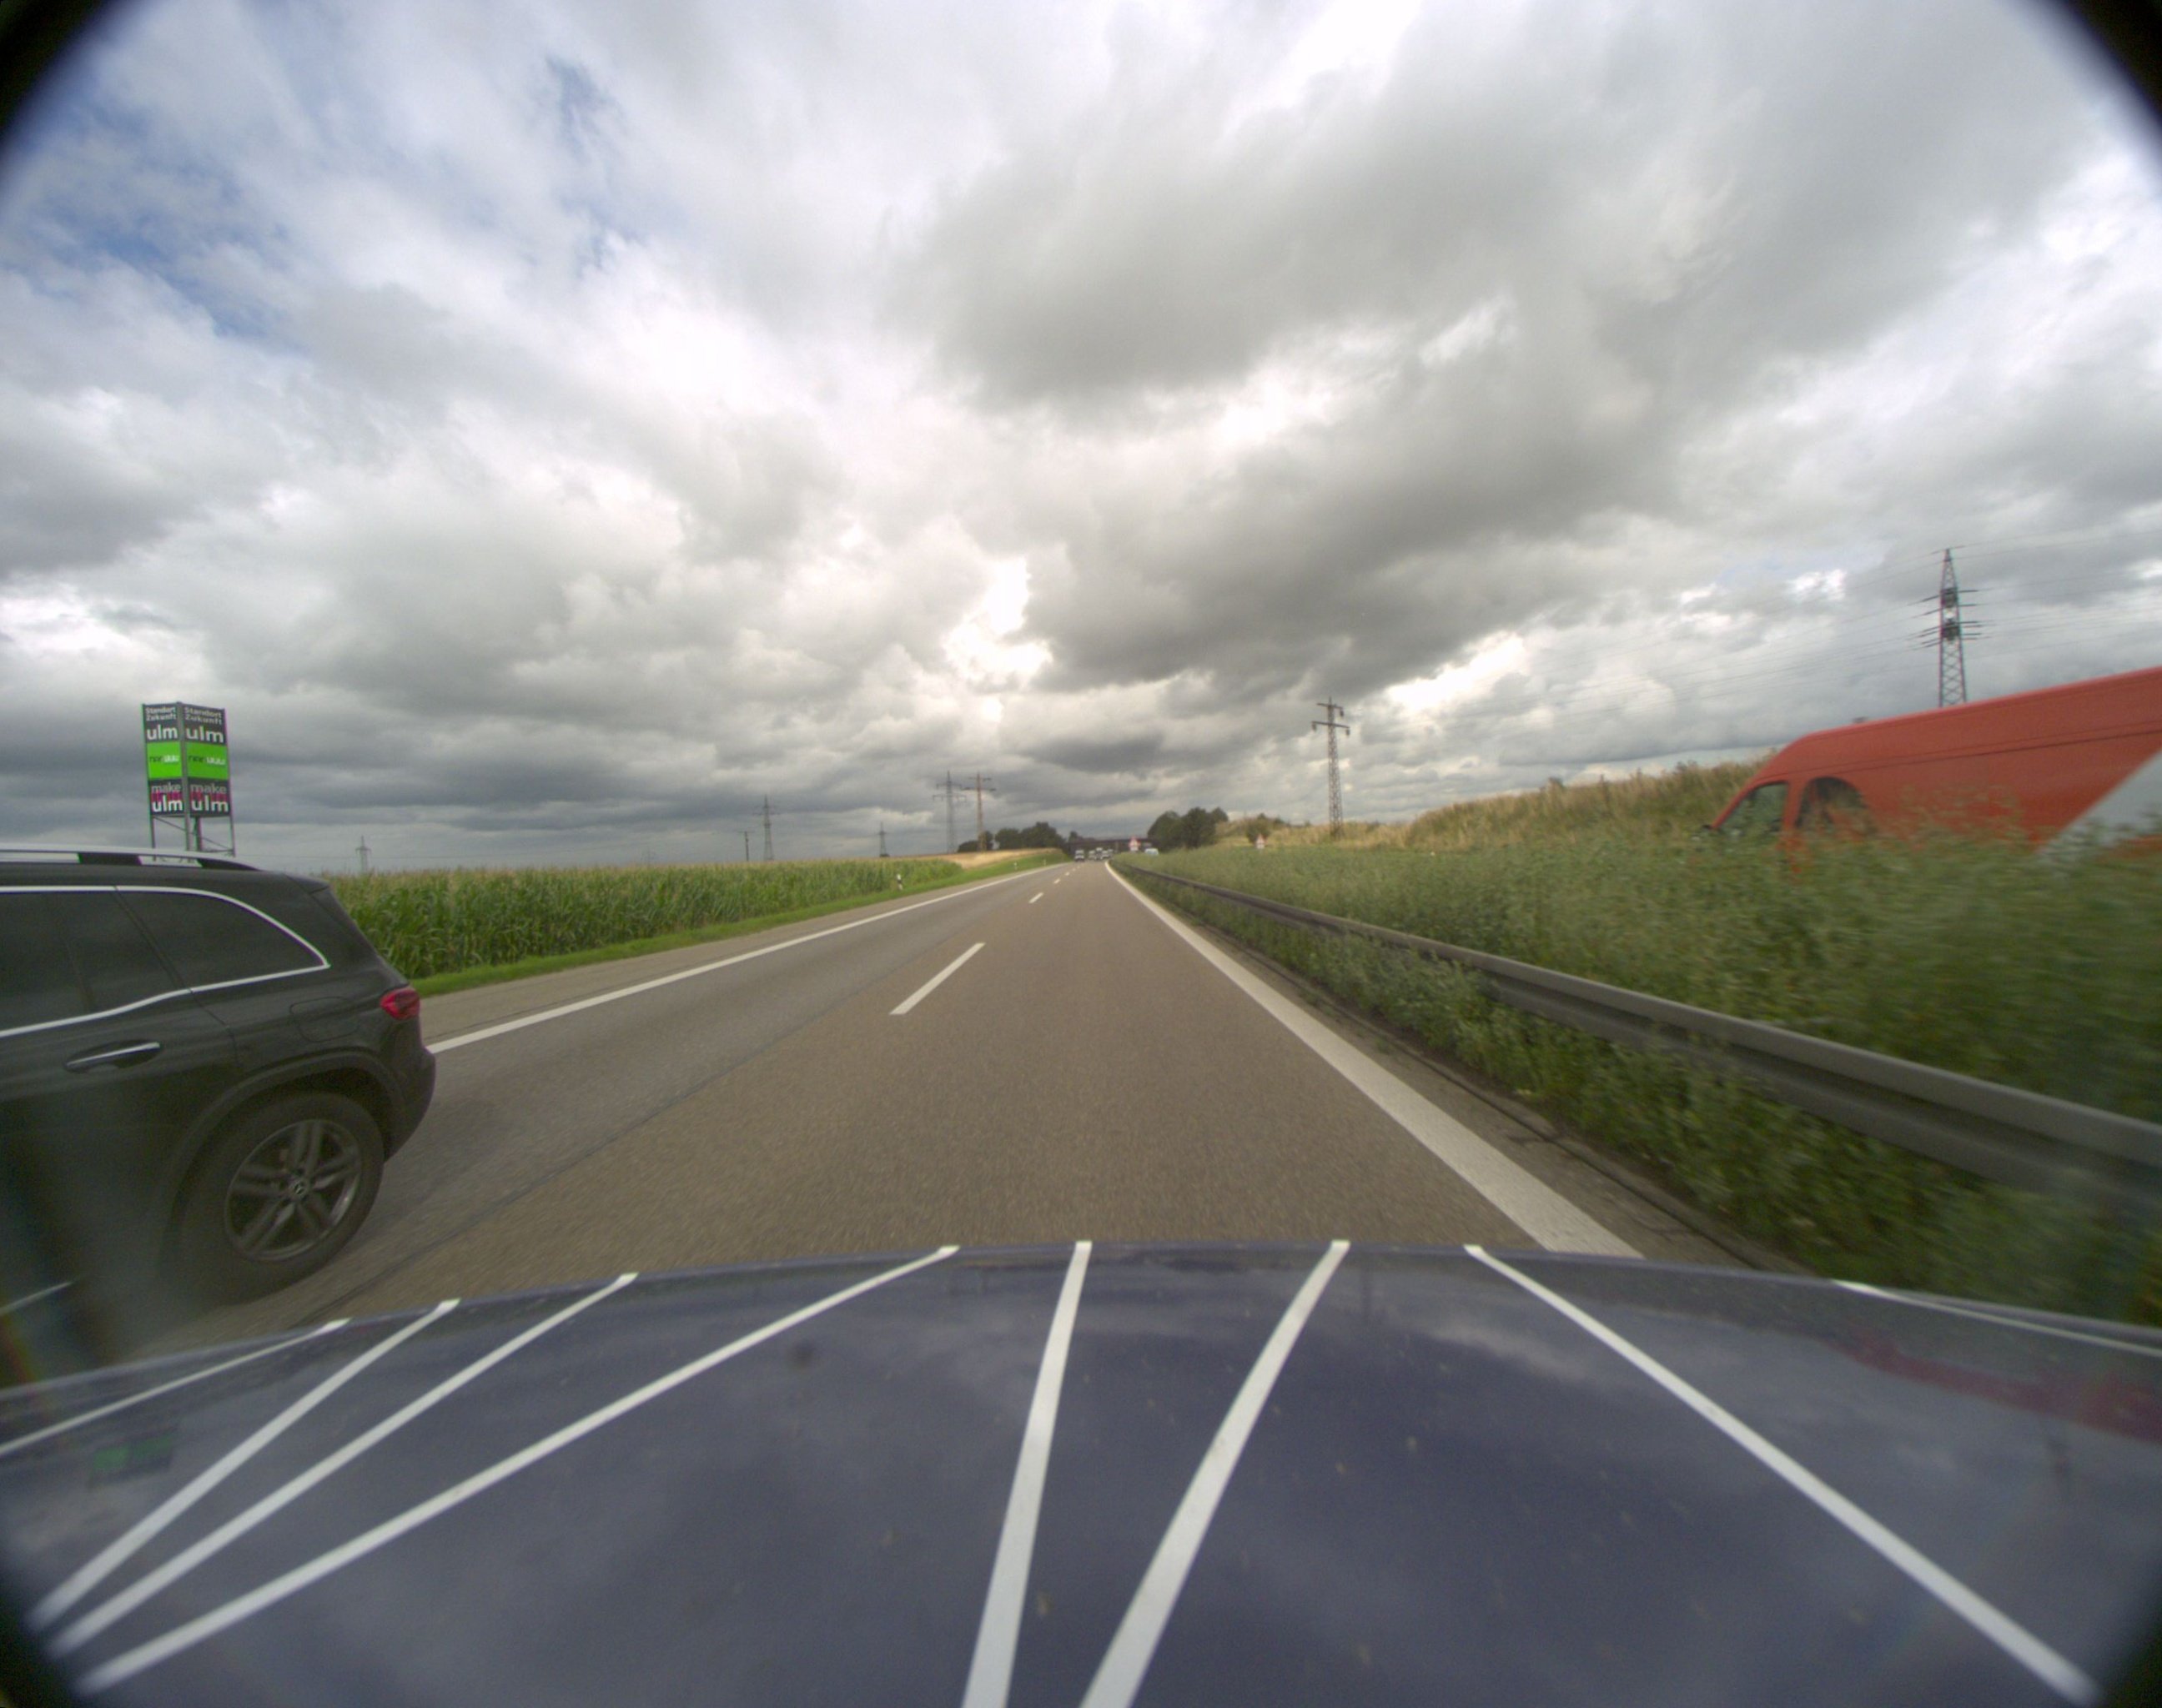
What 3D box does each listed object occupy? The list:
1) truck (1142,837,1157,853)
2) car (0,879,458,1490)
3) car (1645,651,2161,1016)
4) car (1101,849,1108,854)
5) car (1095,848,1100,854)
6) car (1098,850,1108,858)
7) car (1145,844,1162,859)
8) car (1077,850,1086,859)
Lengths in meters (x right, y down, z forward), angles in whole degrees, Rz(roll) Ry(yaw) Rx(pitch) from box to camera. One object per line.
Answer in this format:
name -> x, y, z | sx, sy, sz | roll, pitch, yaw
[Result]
truck -> 17.742, -2.226, 197.770 | 2.729, 3.913, 17.402 | -2, 0, 2
car -> -3.901, 0.973, 1.377 | 1.838, 1.600, 4.360 | -2, 1, 1
car -> 7.760, -0.185, 6.297 | 2.129, 2.254, 5.452 | -3, 1, 1
car -> 7.815, -0.841, 252.958 | 1.998, 1.698, 4.000 | -2, 1, 0
car -> 5.458, -1.108, 252.939 | 1.832, 1.849, 5.790 | -1, 1, 1
car -> 5.323, 0.052, 183.602 | 1.998, 1.695, 4.663 | -4, -1, 3
car -> 10.127, -0.336, 106.631 | 1.998, 2.002, 5.531 | -3, 1, 1
car -> 0.102, 0.078, 173.393 | 1.998, 1.812, 4.342 | -2, 0, 1
